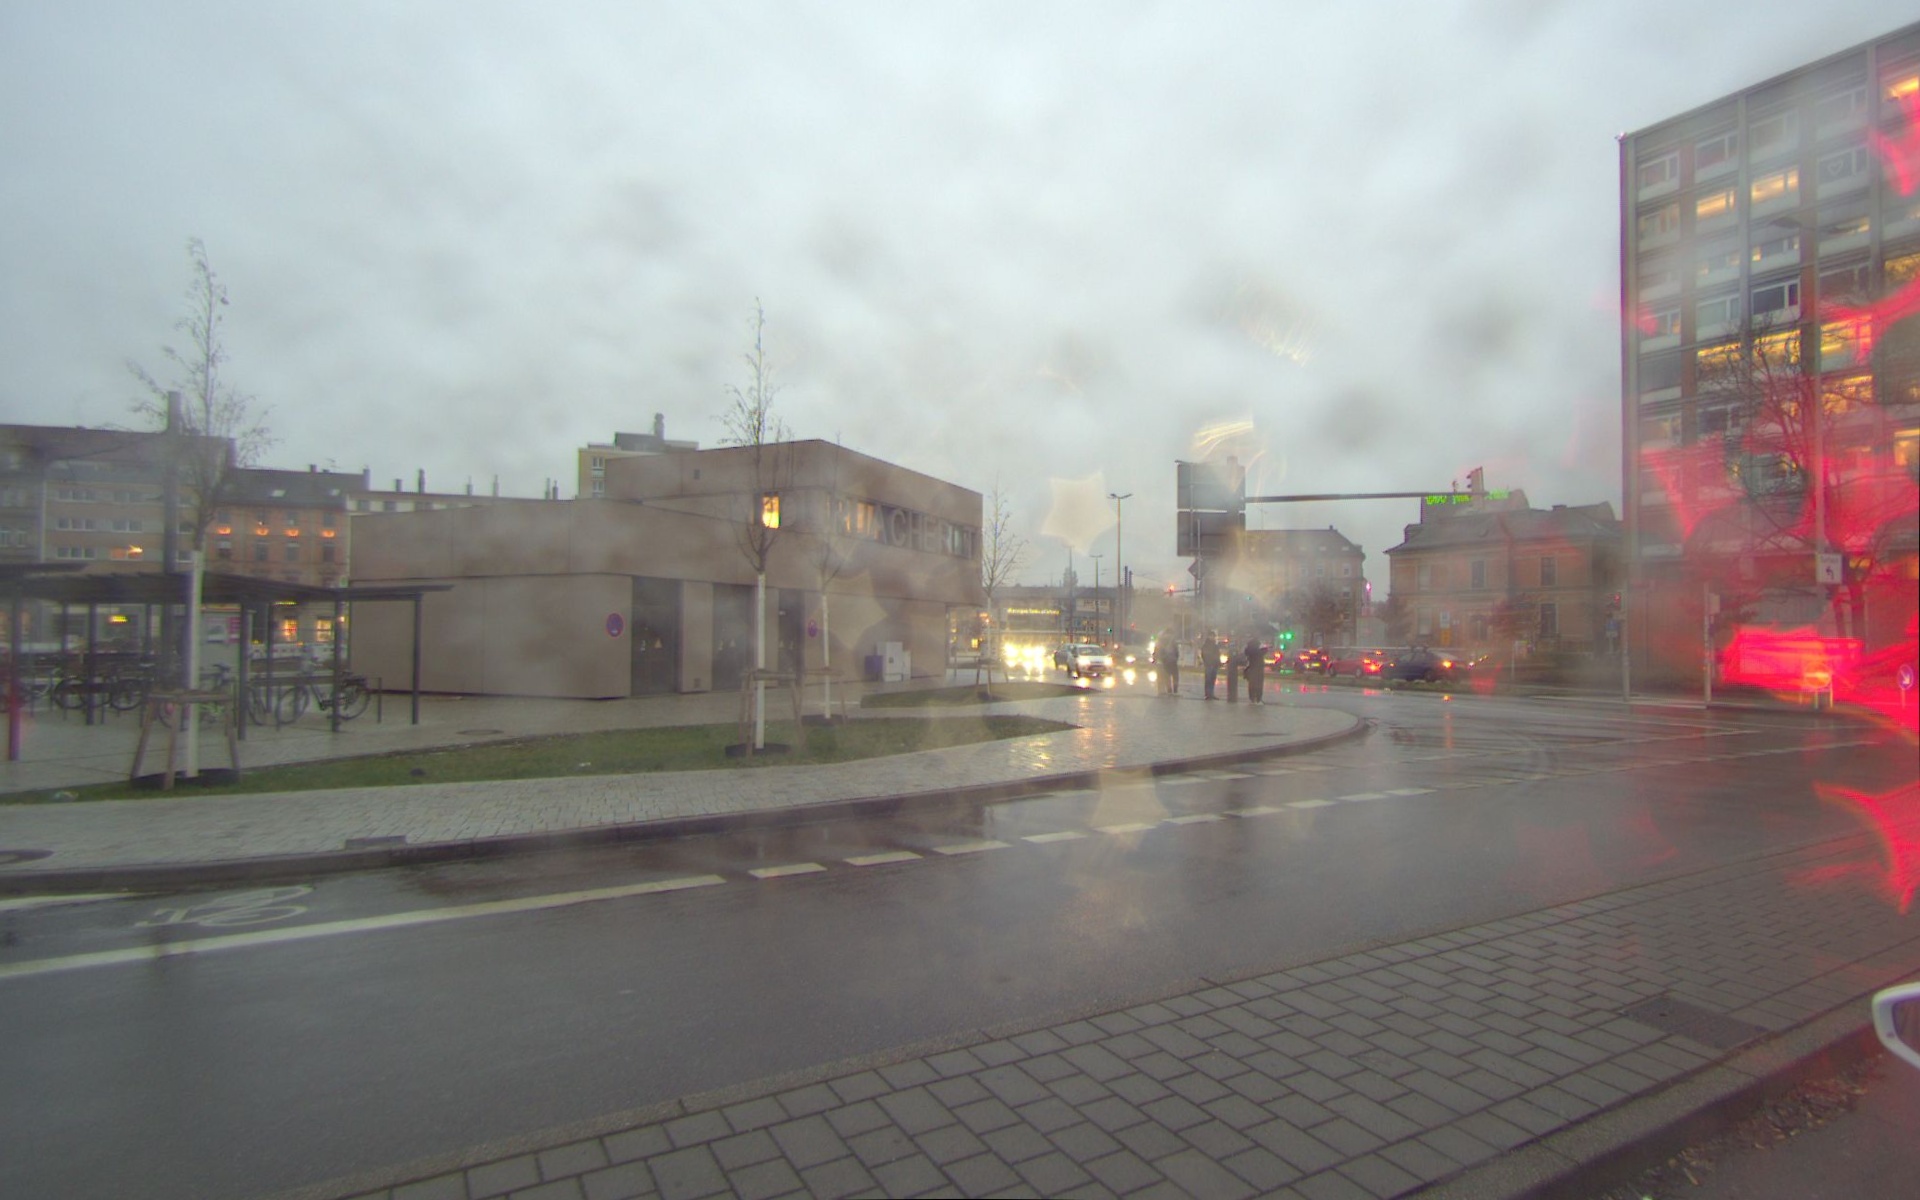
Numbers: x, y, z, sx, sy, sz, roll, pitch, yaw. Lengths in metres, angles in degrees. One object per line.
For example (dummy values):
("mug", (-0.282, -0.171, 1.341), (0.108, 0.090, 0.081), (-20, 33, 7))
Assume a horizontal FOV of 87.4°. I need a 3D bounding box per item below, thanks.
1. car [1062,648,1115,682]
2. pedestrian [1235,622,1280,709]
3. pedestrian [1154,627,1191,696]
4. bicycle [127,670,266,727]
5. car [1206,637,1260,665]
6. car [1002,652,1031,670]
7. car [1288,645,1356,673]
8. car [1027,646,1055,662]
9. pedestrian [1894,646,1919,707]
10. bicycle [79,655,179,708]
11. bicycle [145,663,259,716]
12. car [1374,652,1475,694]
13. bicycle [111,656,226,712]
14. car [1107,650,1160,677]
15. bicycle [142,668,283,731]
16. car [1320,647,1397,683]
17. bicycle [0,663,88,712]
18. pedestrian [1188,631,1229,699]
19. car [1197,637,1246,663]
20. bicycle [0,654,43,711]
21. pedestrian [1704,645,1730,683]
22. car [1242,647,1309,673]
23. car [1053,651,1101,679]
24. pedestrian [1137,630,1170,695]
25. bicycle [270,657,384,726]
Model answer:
("car", (6.166, 3.110, 48.535), (1.712, 1.467, 3.711), (0, -2, -6))
("pedestrian", (7.223, 1.577, 24.375), (0.971, 2.047, 0.802), (-1, -2, 19))
("pedestrian", (5.872, 1.685, 27.705), (0.671, 1.863, 0.726), (1, -3, -42))
("bicycle", (-13.591, 1.738, 17.953), (0.466, 0.903, 1.923), (1, -2, 29))
("car", (19.615, 3.653, 72.355), (3.514, 1.850, 1.672), (2, 0, 8))
("car", (4.898, 5.336, 87.747), (1.778, 1.496, 4.588), (1, -3, -7))
("car", (20.897, 3.407, 58.079), (3.364, 1.481, 1.515), (2, 0, -1))
("car", (7.886, 5.229, 97.997), (1.777, 1.496, 4.668), (1, -3, -7))
("pedestrian", (30.559, 2.391, 31.694), (1.117, 1.867, 1.004), (-2, -2, -4))
("bicycle", (-17.692, 1.711, 21.434), (0.511, 1.050, 1.573), (1, -2, 19))
("bicycle", (-15.185, 1.778, 20.176), (0.466, 0.968, 1.767), (1, -2, 29))
("car", (21.063, 3.296, 45.705), (1.800, 1.589, 3.979), (2, 0, -22))
("bicycle", (-16.535, 1.736, 21.041), (0.466, 1.087, 1.830), (1, -2, 26))
("car", (10.471, 3.830, 61.041), (1.778, 1.496, 4.586), (1, -3, -9))
("bicycle", (-12.941, 1.703, 17.461), (0.466, 0.989, 1.923), (1, -2, 29))
("car", (20.491, 3.309, 51.819), (1.795, 1.589, 3.991), (2, 0, -11))
("bicycle", (-18.514, 1.733, 19.991), (0.466, 0.903, 1.693), (1, -2, 24))
("pedestrian", (6.583, 1.705, 26.630), (0.838, 1.778, 0.659), (0, -2, -14))
("car", (19.386, 3.720, 74.500), (3.321, 1.724, 1.526), (2, 0, 8))
("bicycle", (-19.399, 1.633, 19.840), (0.466, 1.122, 1.797), (1, -2, 29))
("pedestrian", (34.487, 2.898, 45.774), (0.626, 1.710, 0.640), (0, -2, -13))
("car", (20.084, 3.805, 63.980), (3.741, 1.502, 1.602), (2, 0, -1))
("car", (6.953, 3.853, 60.256), (1.902, 1.572, 4.696), (1, -3, -6))
("pedestrian", (5.435, 1.741, 28.219), (0.544, 1.793, 0.734), (1, -3, -43))
("bicycle", (-11.755, 1.676, 18.721), (0.605, 1.172, 1.755), (1, -2, 20))
